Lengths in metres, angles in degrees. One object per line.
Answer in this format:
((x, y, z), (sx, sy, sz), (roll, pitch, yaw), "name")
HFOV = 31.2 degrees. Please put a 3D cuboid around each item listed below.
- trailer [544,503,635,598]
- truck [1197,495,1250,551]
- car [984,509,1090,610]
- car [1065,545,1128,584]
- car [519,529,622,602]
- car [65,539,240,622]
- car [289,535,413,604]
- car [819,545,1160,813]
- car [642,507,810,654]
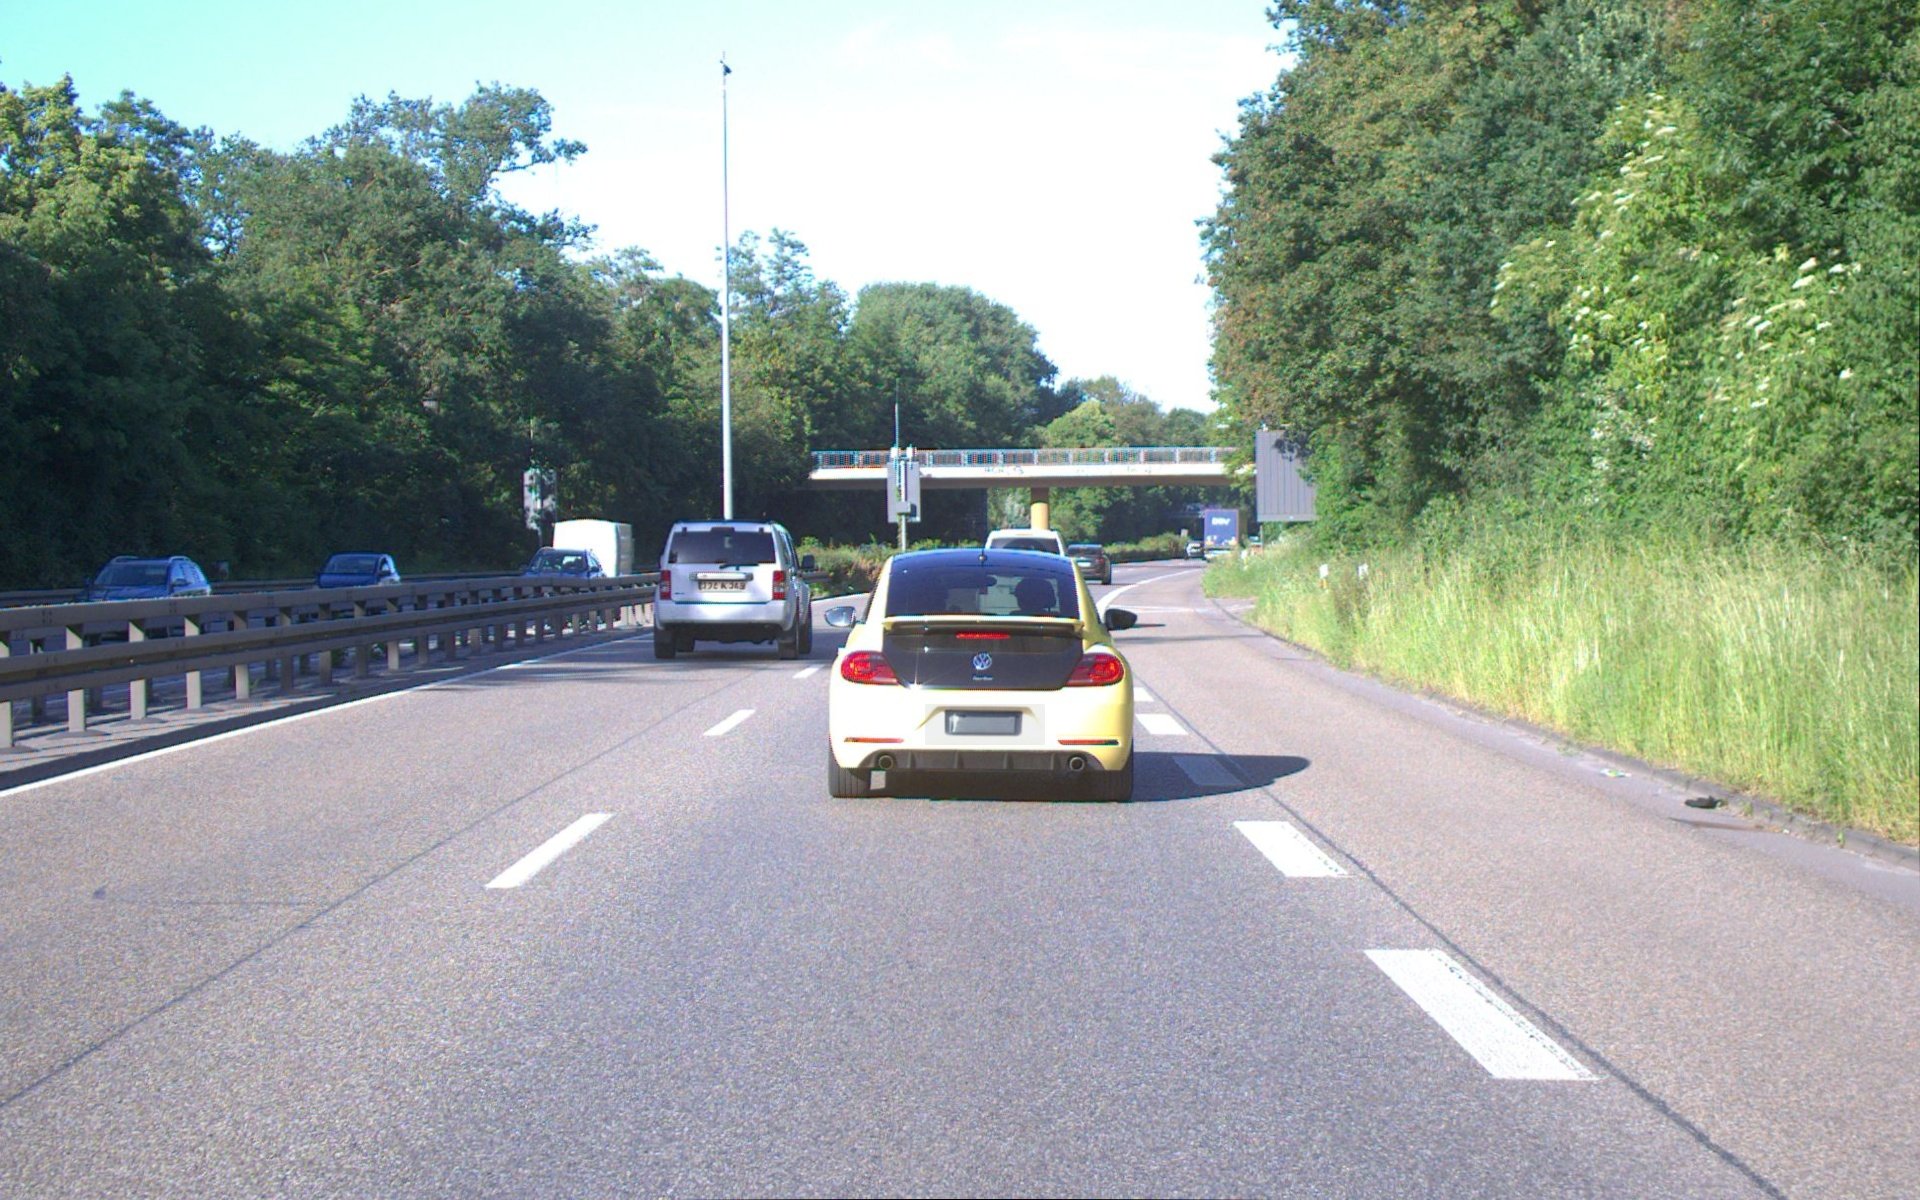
((-9.797, -1.335, 91.186), (1.993, 2.429, 4.607), (-1, 1, -1), "trailer")
((19.886, -5.771, 258.920), (3.497, 4.158, 8.859), (0, 1, 8), "truck")
((1.401, -0.756, 63.073), (1.863, 1.764, 4.470), (-1, 1, 1), "car")
((5.096, -1.327, 128.237), (1.994, 1.393, 3.999), (0, 1, 7), "car")
((-9.745, -0.887, 86.267), (2.071, 1.742, 5.225), (-1, 1, -1), "car")
((-14.891, -0.390, 63.674), (2.071, 1.462, 4.986), (0, 1, 0), "car")
((-14.568, -0.757, 82.513), (2.071, 1.608, 5.059), (0, 1, 0), "car")
((0.130, 0.407, 21.426), (1.879, 1.456, 4.356), (1, 1, -1), "car")
((-3.048, -0.281, 45.266), (2.085, 1.822, 4.001), (-1, 1, -3), "car")
